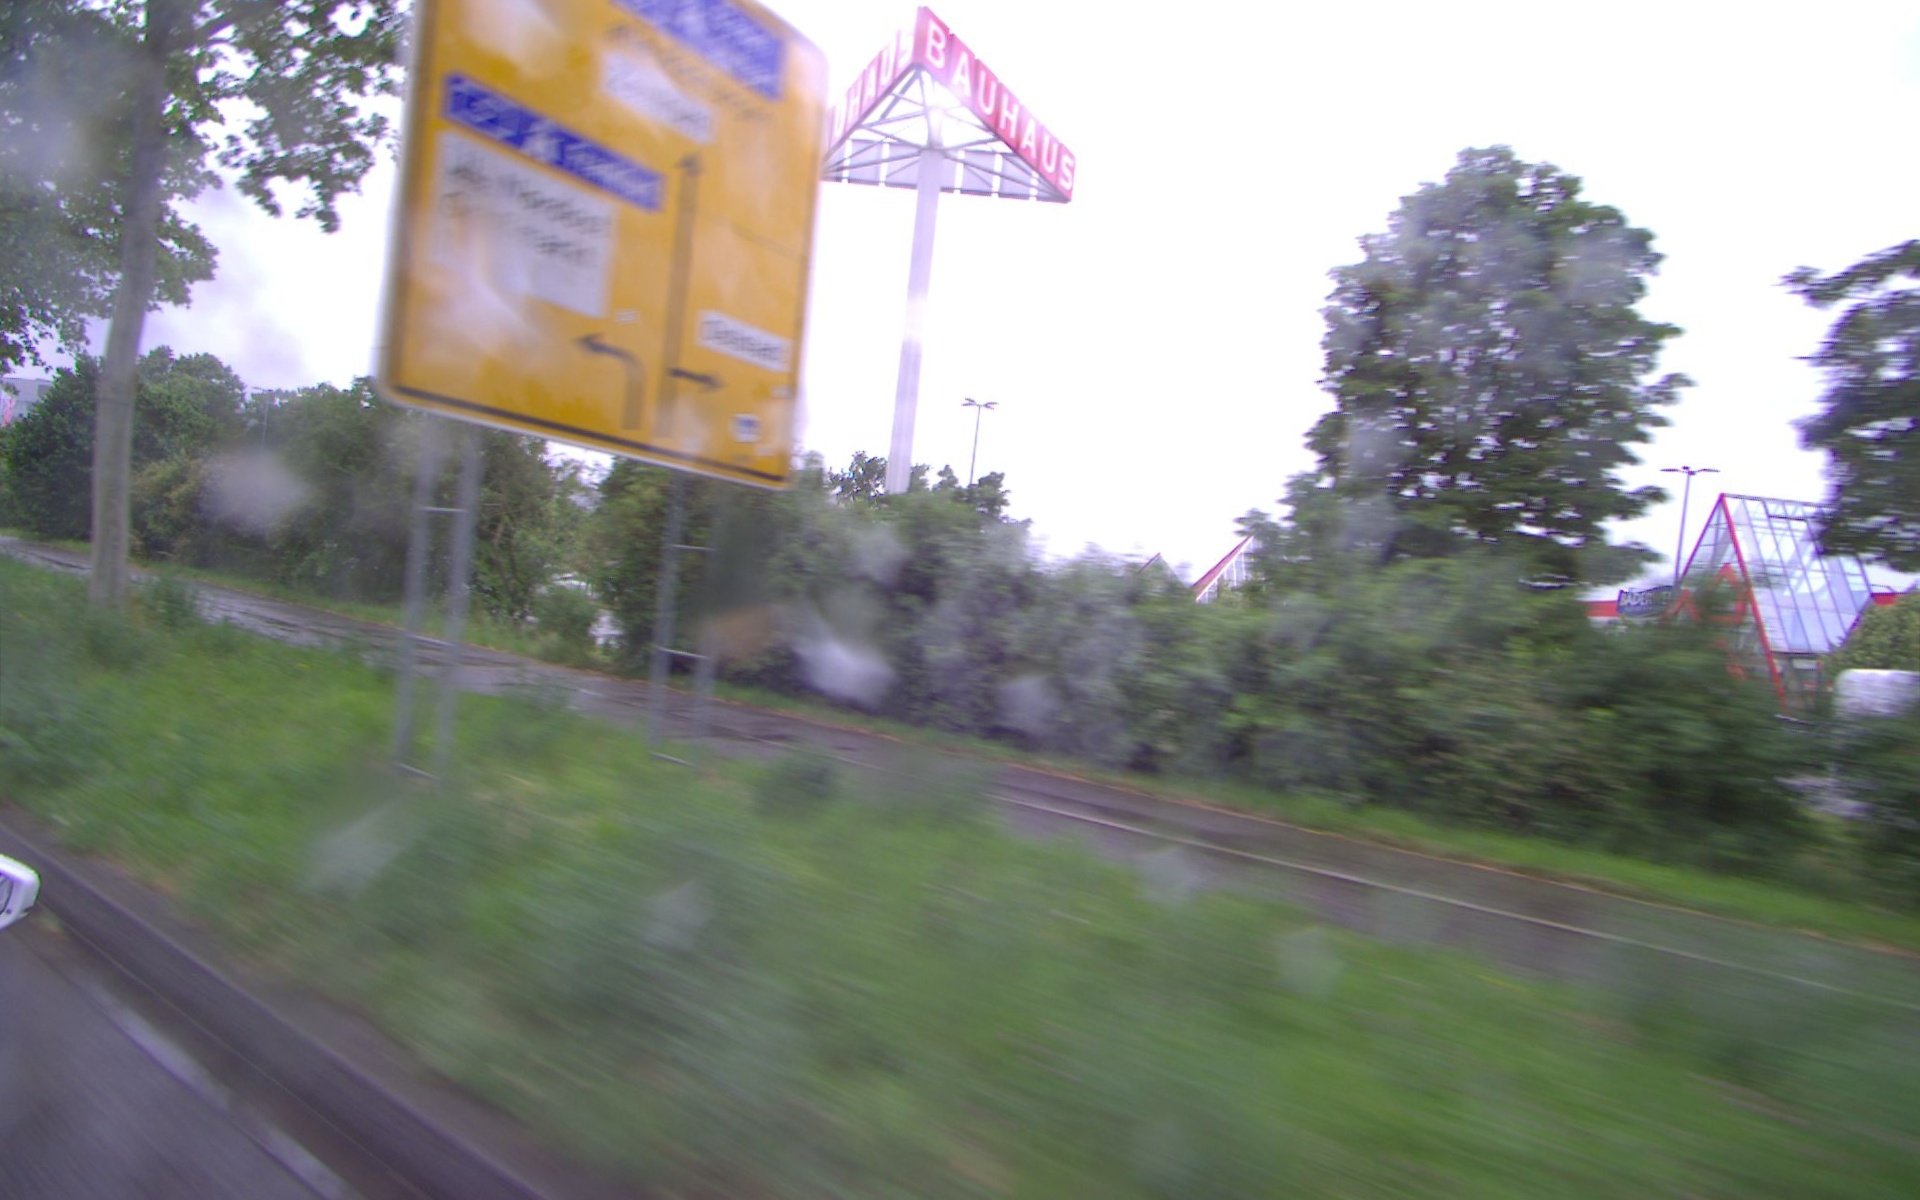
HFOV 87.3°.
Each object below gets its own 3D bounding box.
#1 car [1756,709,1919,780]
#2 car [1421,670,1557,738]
[{"bbox_3d":[29.196,4.772,33.422,3.773,1.654,1.756,7,0,10],"label":"car"},{"bbox_3d":[17.962,3.526,34.279,3.553,1.765,1.754,7,0,-2],"label":"car"}]
